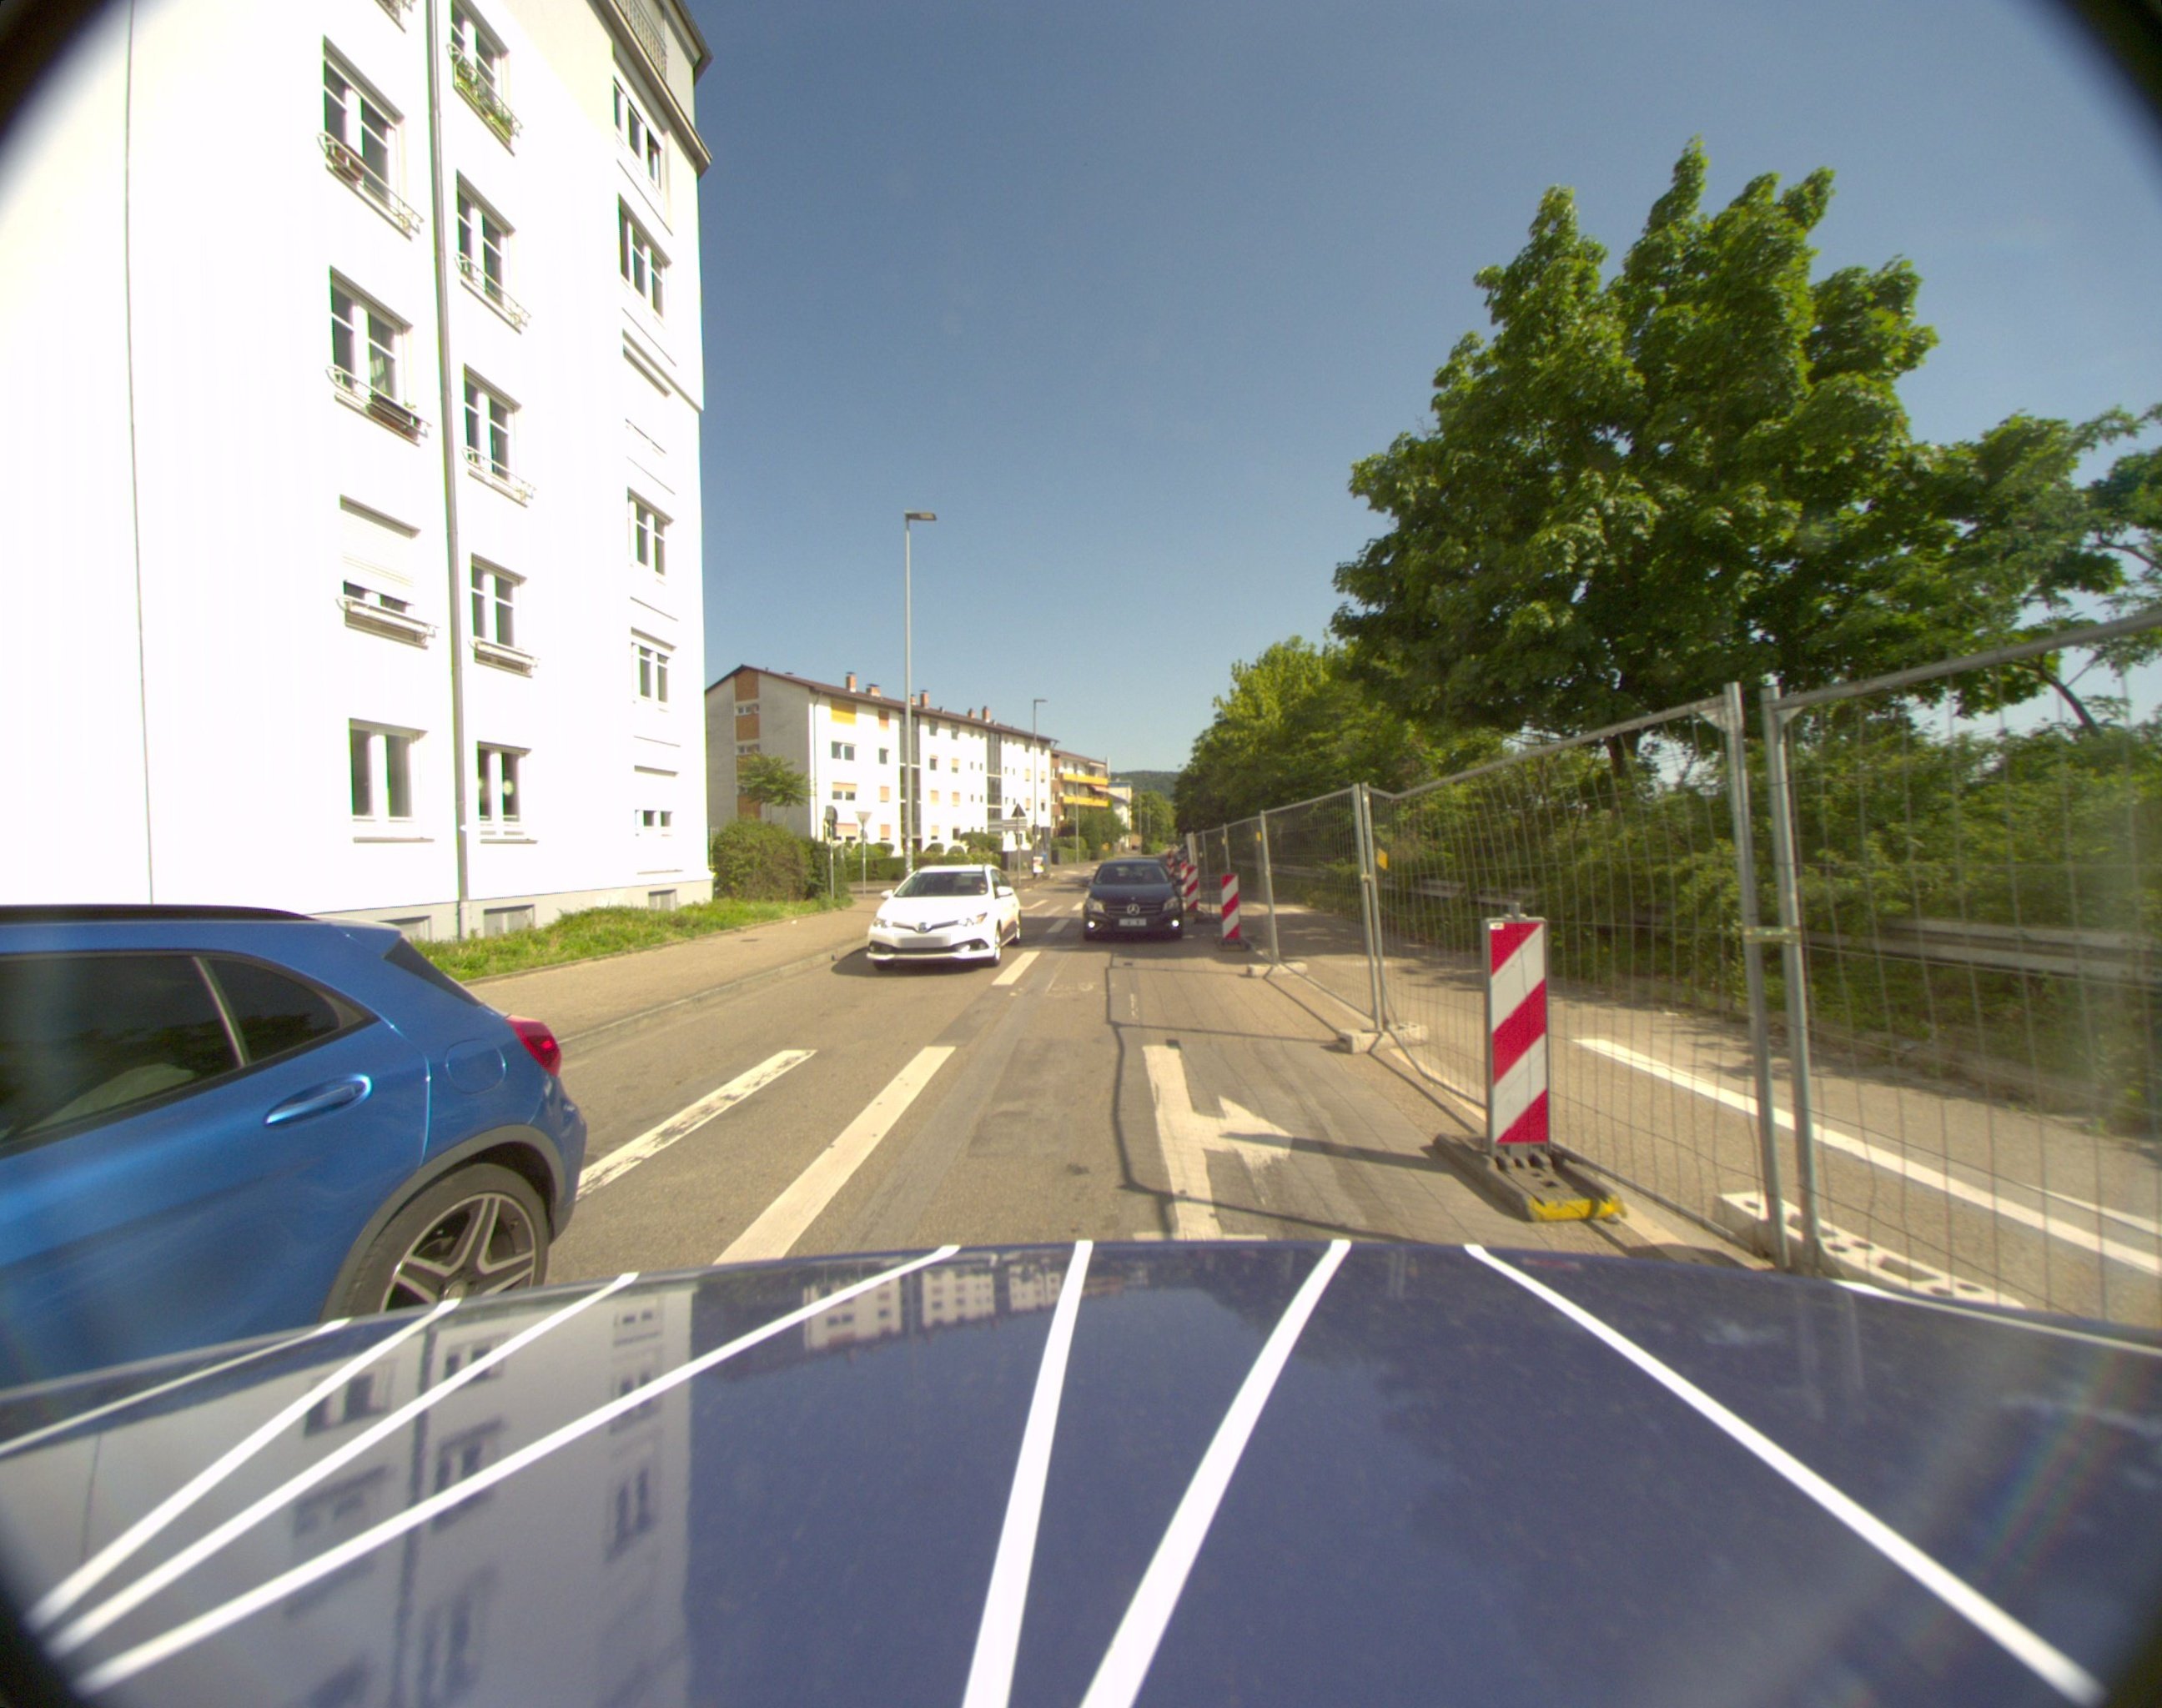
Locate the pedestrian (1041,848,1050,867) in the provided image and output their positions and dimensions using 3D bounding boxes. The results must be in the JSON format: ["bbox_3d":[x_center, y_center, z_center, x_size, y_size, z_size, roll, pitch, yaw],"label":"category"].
[{"bbox_3d":[-2.847,0.295,60.772,0.607,1.500,0.771,-2,2,6],"label":"pedestrian"}]

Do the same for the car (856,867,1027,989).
[{"bbox_3d":[-1.955,0.993,12.017,1.701,1.404,4.486,-2,0,2],"label":"car"}]

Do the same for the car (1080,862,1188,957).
[{"bbox_3d":[0.918,0.918,14.477,1.702,1.400,4.623,-2,0,2],"label":"car"}]

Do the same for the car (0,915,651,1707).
[{"bbox_3d":[-2.615,1.025,0.729,1.675,1.472,4.550,-2,1,1],"label":"car"}]
